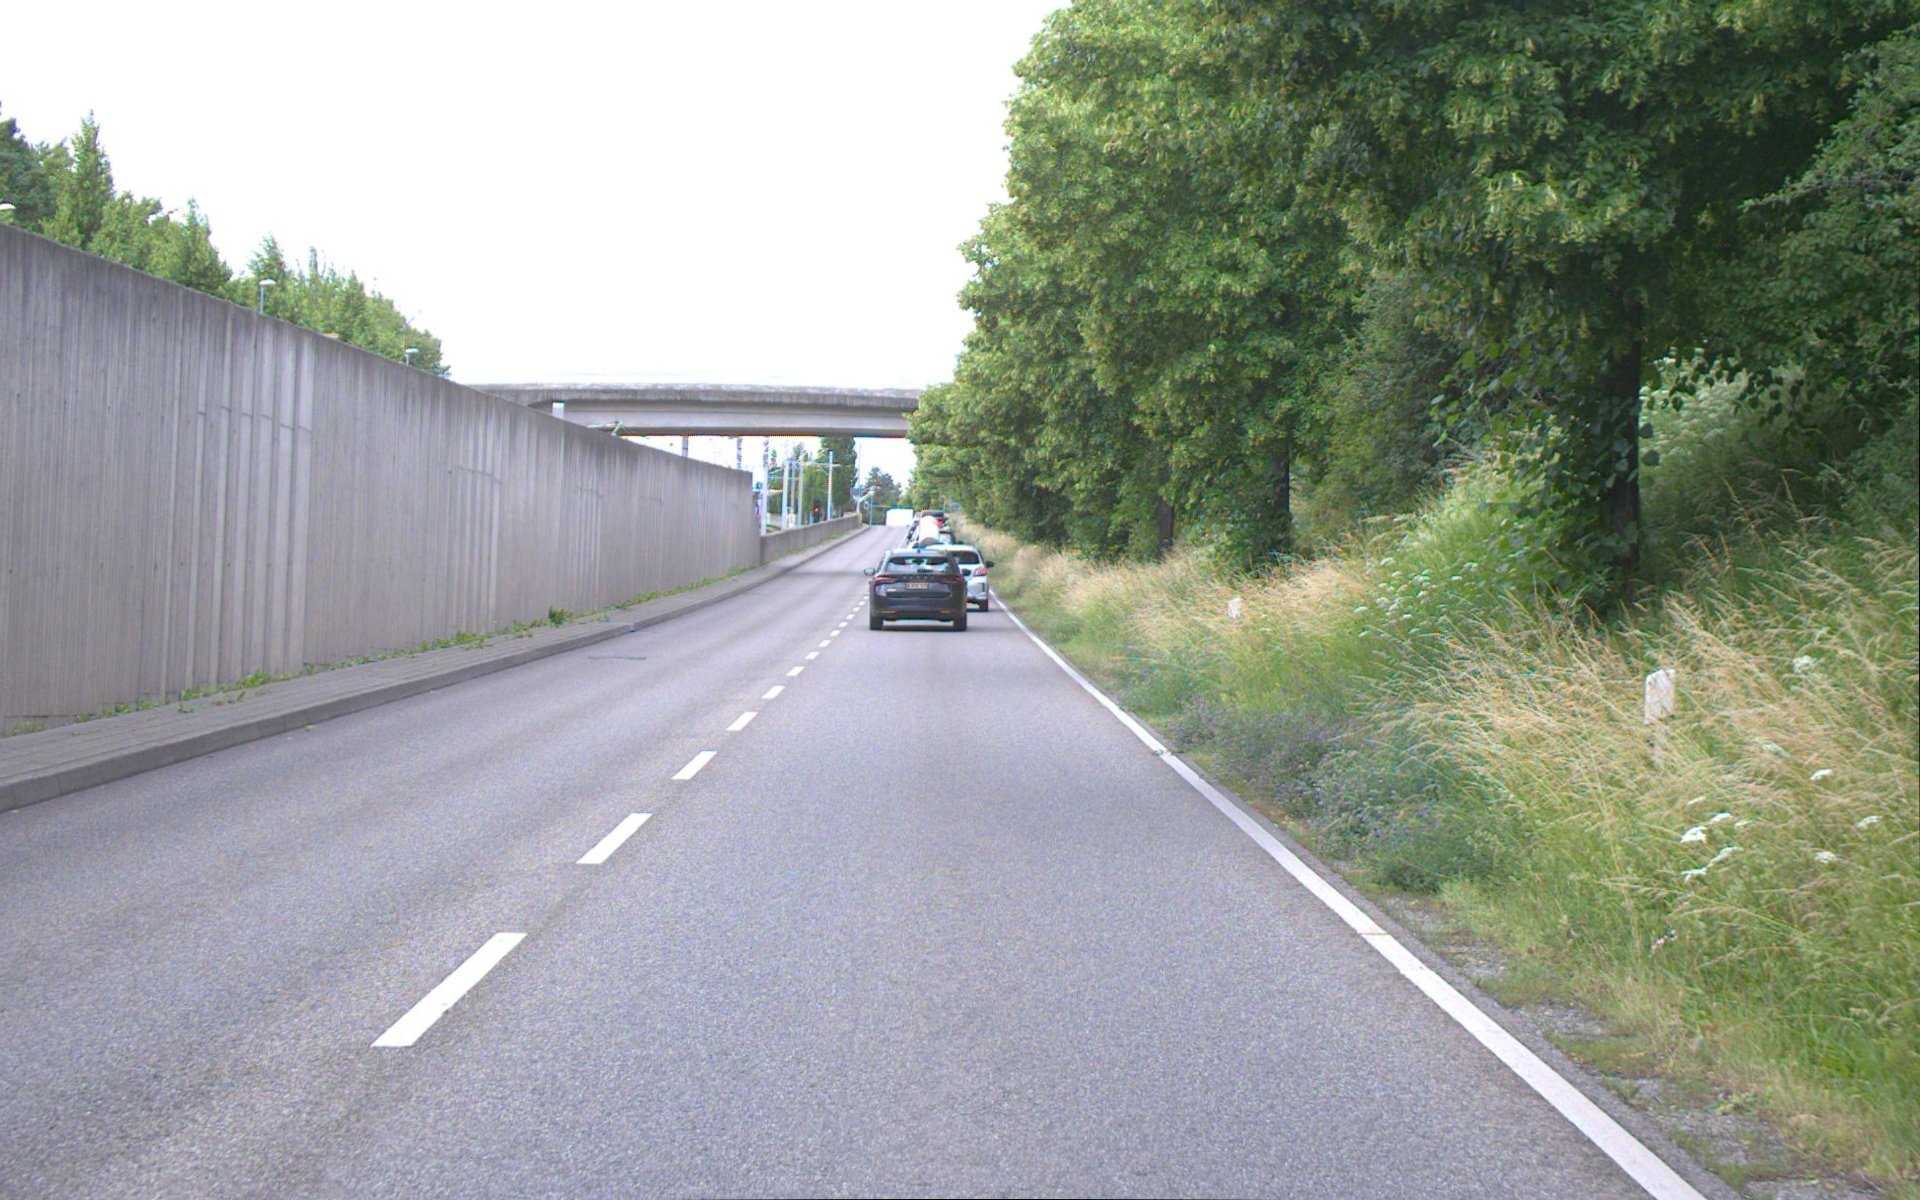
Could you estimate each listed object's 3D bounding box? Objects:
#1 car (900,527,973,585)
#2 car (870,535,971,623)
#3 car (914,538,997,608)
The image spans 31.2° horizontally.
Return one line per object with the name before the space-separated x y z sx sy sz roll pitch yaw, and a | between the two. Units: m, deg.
car | -0.688 -1.261 98.447 1.866 1.485 4.257 4 1 -2
car | -0.728 -0.412 62.645 1.754 1.518 4.037 -1 1 -1
car | -0.122 -0.618 77.945 1.754 1.518 4.037 -1 0 -2
